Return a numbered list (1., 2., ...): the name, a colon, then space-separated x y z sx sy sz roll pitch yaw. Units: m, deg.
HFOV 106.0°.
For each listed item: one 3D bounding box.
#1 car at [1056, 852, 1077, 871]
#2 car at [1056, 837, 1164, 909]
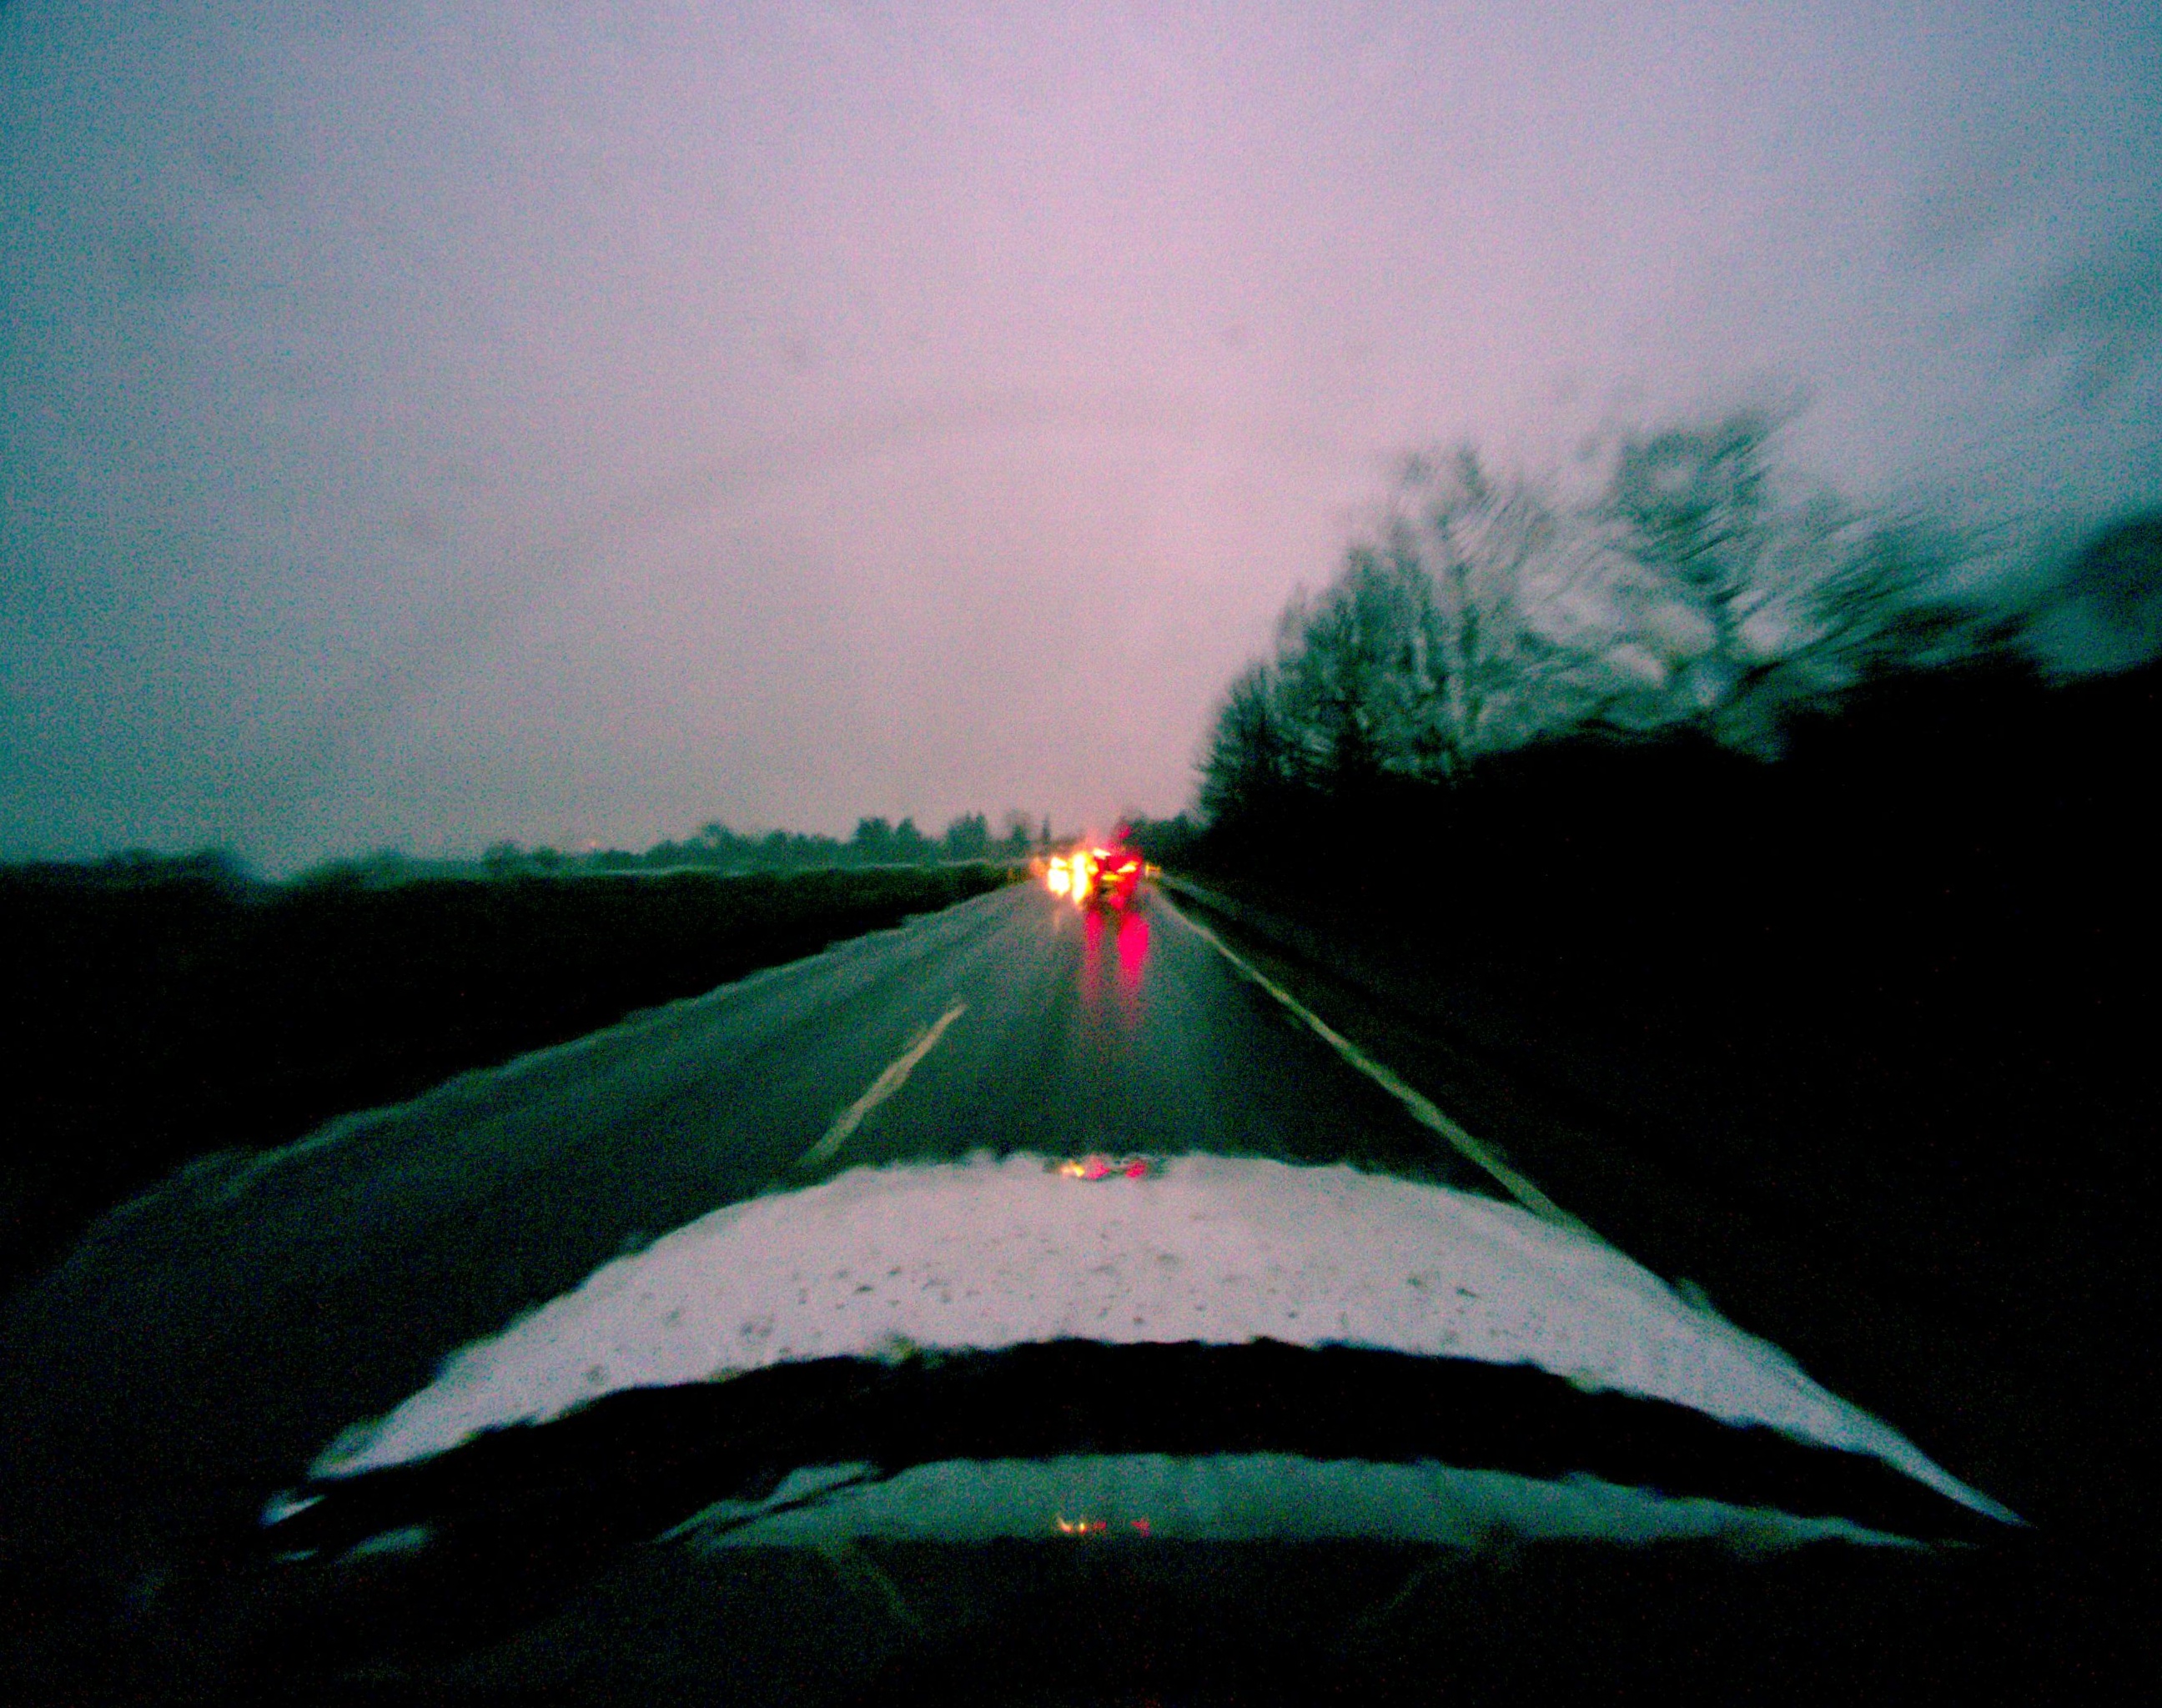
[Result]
1. car: -1.346 0.718 78.073 1.833 1.721 3.957 0 0 1
2. car: 0.987 0.545 27.478 3.152 2.035 6.855 -2 0 2
